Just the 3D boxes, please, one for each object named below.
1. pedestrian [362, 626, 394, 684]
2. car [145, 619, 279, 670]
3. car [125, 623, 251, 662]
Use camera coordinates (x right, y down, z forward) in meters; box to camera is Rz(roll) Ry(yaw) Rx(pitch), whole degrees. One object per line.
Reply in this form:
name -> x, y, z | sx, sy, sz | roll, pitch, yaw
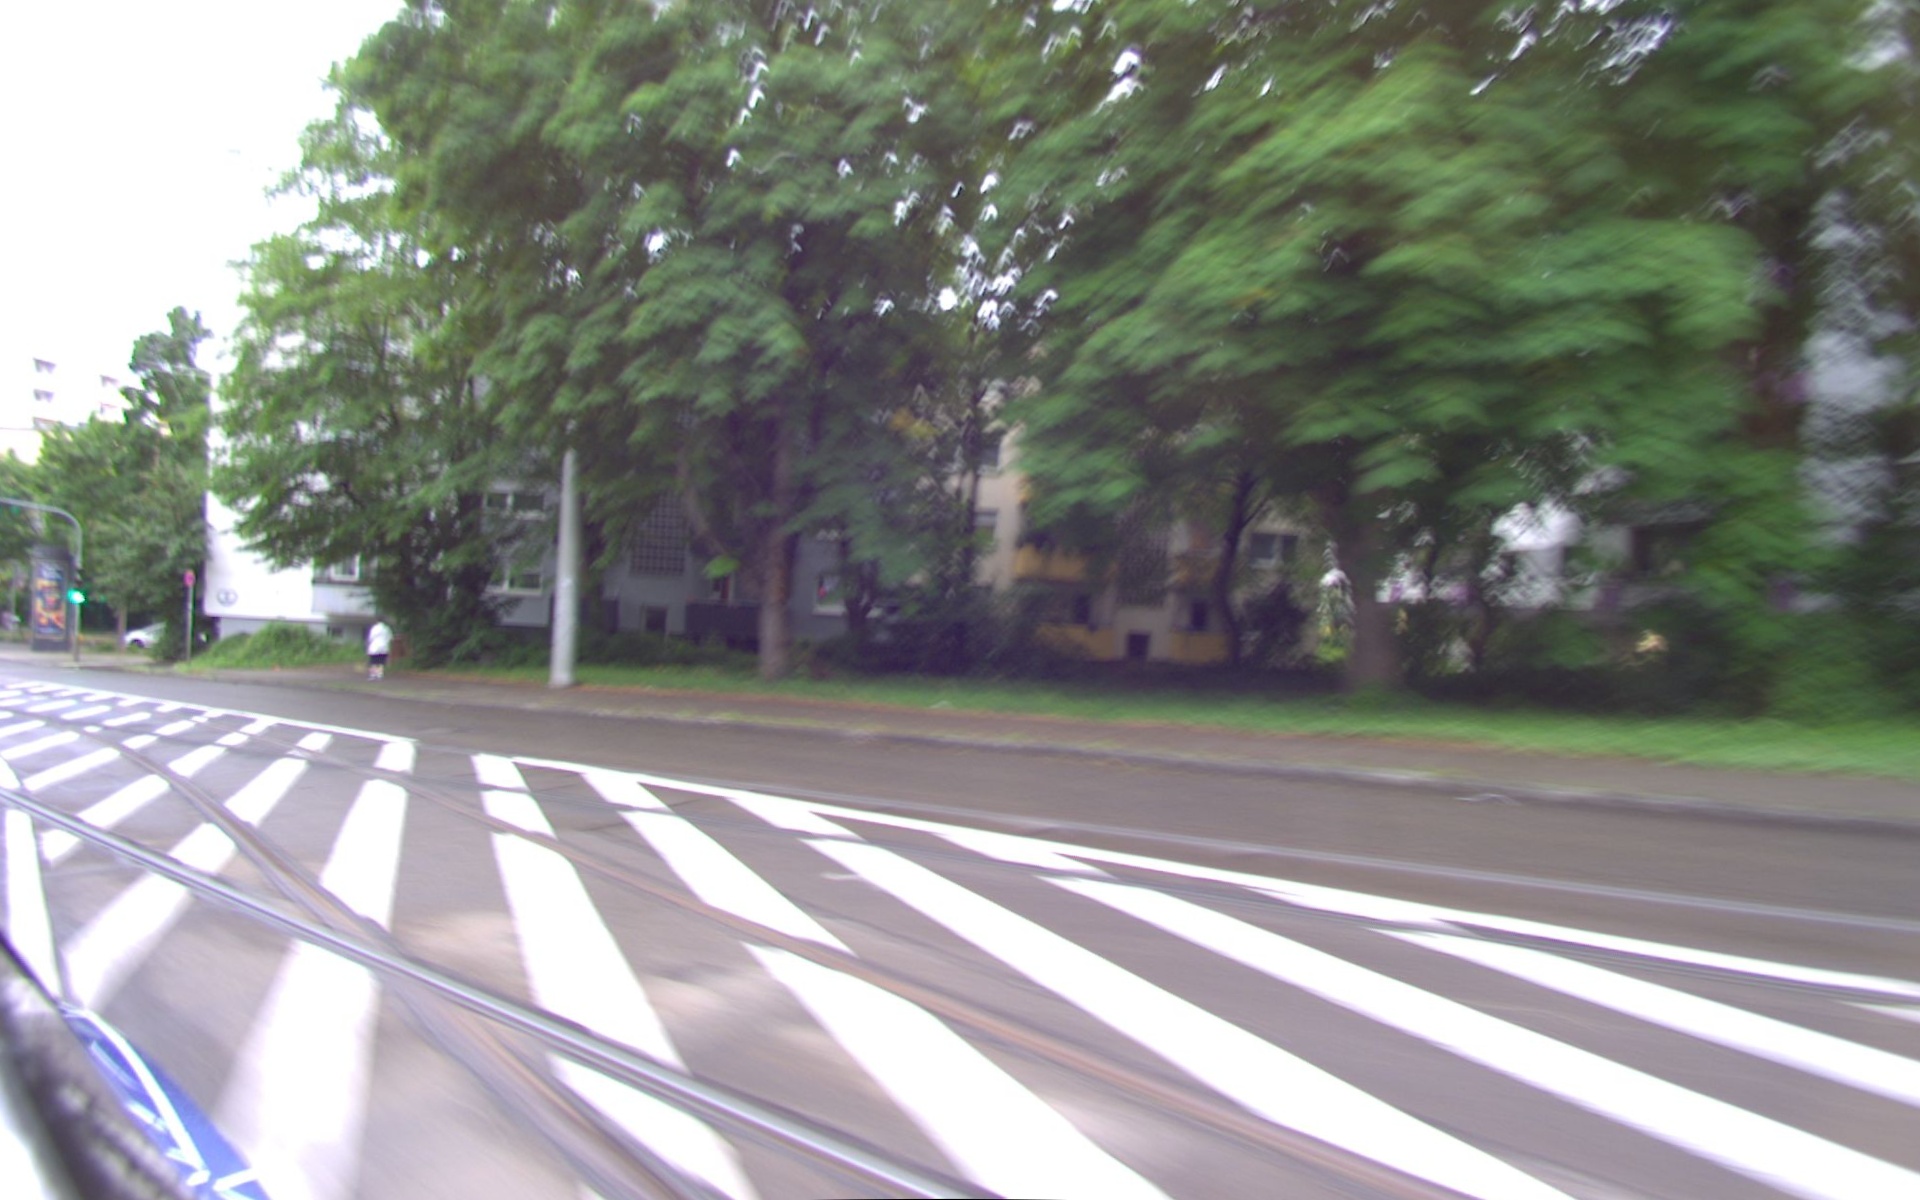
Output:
pedestrian -> -14.834, 1.390, 25.790 | 0.528, 1.437, 0.523 | -1, 0, 38
car -> -28.693, 1.642, 38.886 | 3.940, 1.763, 2.002 | -1, 0, -43
car -> -31.443, 1.678, 41.285 | 3.940, 1.397, 1.786 | -1, 0, -43
